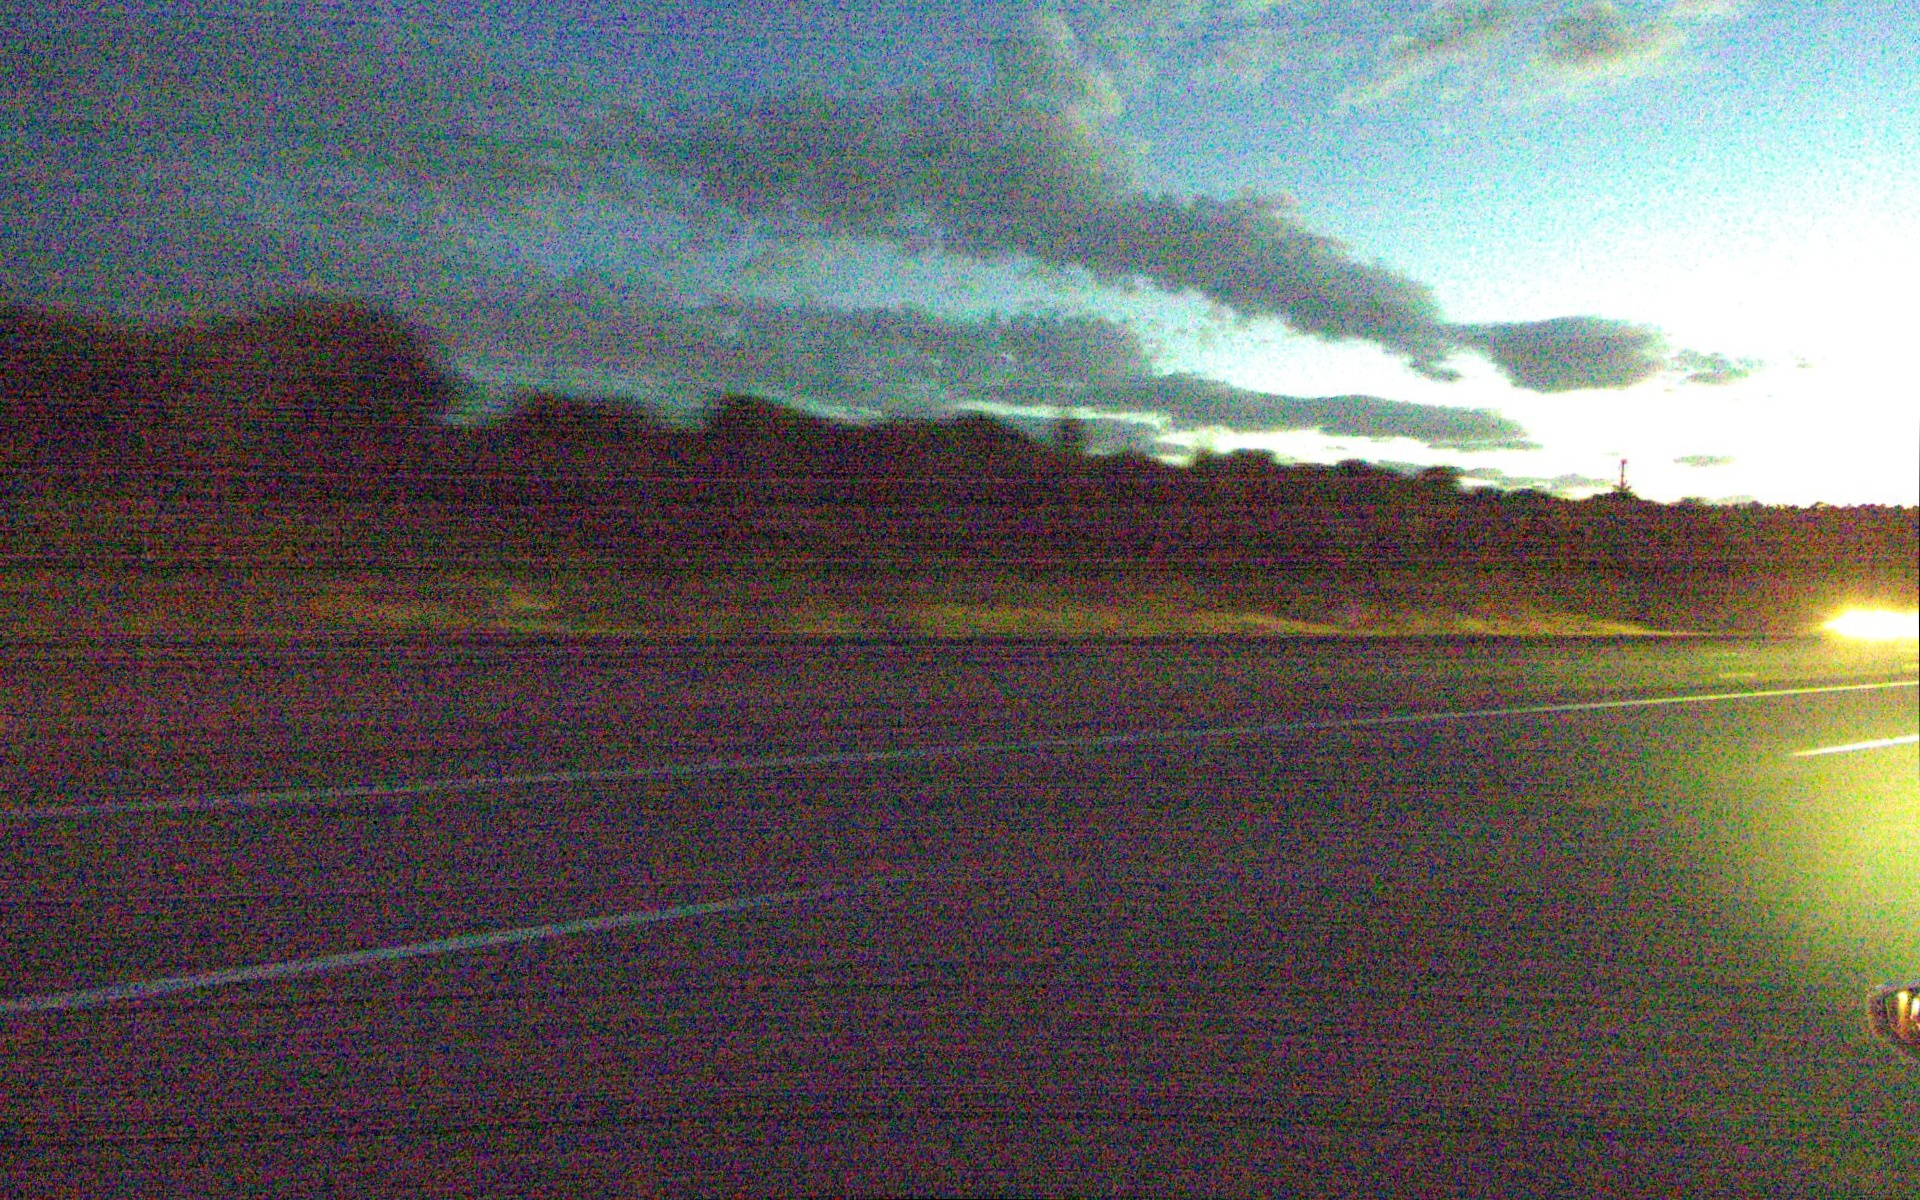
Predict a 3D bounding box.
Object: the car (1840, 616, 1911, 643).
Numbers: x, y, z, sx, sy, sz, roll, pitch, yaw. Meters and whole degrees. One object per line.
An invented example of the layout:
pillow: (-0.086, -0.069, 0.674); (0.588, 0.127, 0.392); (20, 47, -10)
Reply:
car: (53.520, 1.720, 58.706); (4.604, 1.448, 1.766); (2, 0, -30)

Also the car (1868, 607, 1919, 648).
car: (47.417, 1.392, 49.903); (4.604, 1.910, 2.094); (2, 0, -30)
